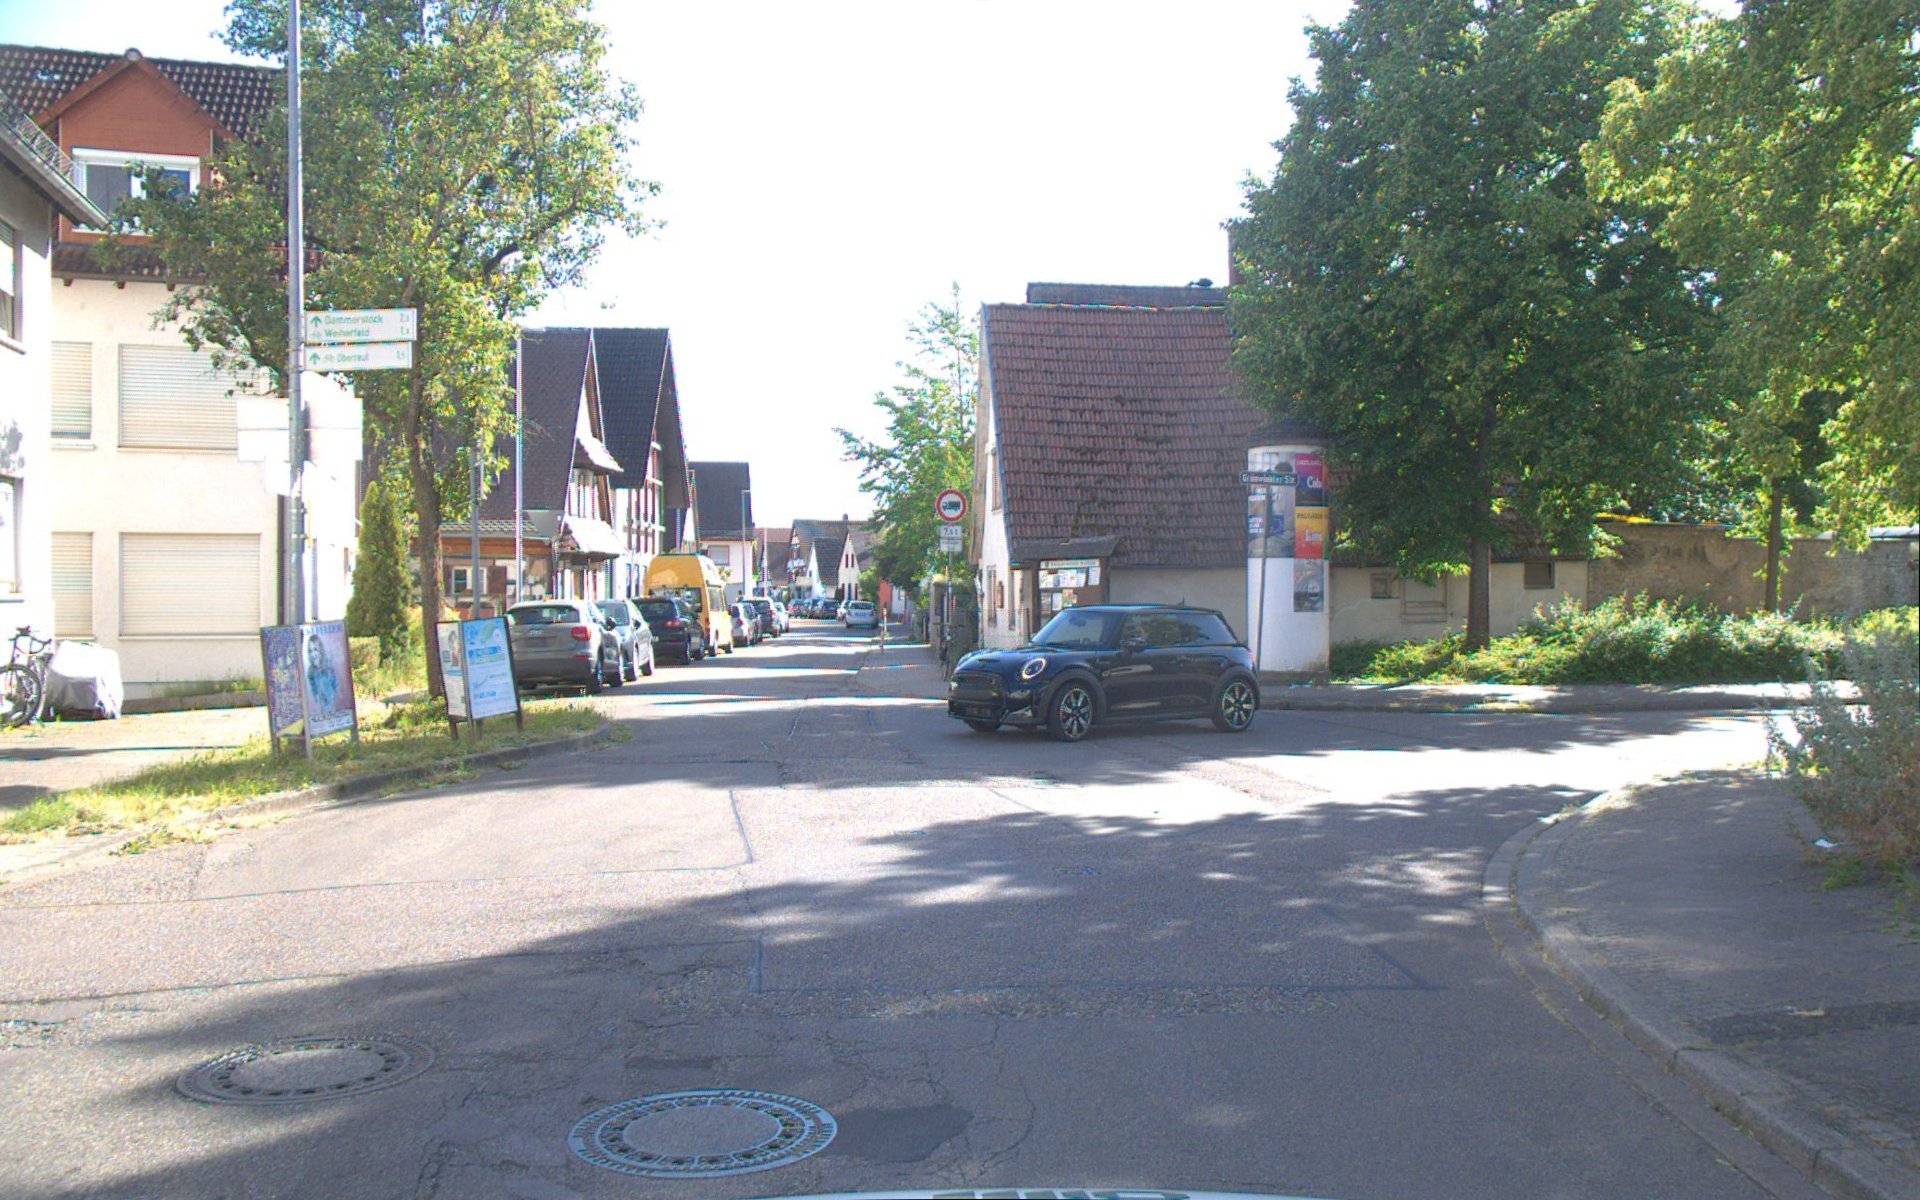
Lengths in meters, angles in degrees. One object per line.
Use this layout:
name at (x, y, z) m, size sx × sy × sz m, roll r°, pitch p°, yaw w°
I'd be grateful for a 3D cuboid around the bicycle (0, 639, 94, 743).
bicycle at (-10.270, 0.971, 18.200) m, size 0.567 × 1.071 × 2.033 m, roll -1°, pitch -1°, yaw -5°

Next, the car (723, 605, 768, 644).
car at (-7.790, 0.864, 60.320) m, size 1.557 × 1.359 × 3.609 m, roll 0°, pitch 0°, yaw -6°

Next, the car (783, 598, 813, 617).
car at (-14.299, 0.651, 145.857) m, size 1.942 × 1.610 × 3.975 m, roll 0°, pitch 0°, yaw -18°

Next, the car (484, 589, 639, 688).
car at (-6.594, 0.615, 27.770) m, size 1.830 × 1.532 × 4.104 m, roll 0°, pitch -1°, yaw -3°

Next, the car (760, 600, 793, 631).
car at (-8.962, 0.756, 80.850) m, size 1.557 × 1.468 × 3.609 m, roll 0°, pitch 0°, yaw -6°

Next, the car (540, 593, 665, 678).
car at (-6.869, 0.657, 32.150) m, size 1.771 × 1.532 × 4.104 m, roll 0°, pitch -1°, yaw -3°

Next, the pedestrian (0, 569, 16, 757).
pedestrian at (-9.042, 0.579, 15.155) m, size 0.474 × 1.723 × 0.555 m, roll 0°, pitch -2°, yaw -9°

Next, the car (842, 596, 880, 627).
car at (-5.625, 0.629, 93.745) m, size 1.935 × 1.744 × 3.989 m, roll 0°, pitch 0°, yaw -6°

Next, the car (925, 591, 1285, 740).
car at (1.688, 0.660, 18.615) m, size 3.955 × 1.503 × 1.645 m, roll 0°, pitch 0°, yaw -36°

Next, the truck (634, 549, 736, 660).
truck at (-7.673, 0.134, 46.611) m, size 2.223 × 2.919 × 5.778 m, roll 0°, pitch -1°, yaw -3°

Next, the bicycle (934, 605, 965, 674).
bicycle at (-0.185, 0.705, 30.291) m, size 0.424 × 1.197 × 1.830 m, roll -1°, pitch 0°, yaw 4°

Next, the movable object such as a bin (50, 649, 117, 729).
movable object such as a bin at (-10.920, 1.097, 20.631) m, size 0.616 × 0.962 × 0.658 m, roll 0°, pitch -1°, yaw -17°

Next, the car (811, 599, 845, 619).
car at (-10.866, 0.735, 136.109) m, size 1.942 × 1.610 × 3.975 m, roll 0°, pitch 0°, yaw -18°

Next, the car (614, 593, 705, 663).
car at (-7.412, 0.680, 41.062) m, size 1.771 × 1.650 × 3.878 m, roll 0°, pitch -1°, yaw -3°

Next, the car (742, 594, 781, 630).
car at (-8.248, 0.481, 68.955) m, size 1.557 × 1.468 × 3.609 m, roll 0°, pitch 0°, yaw -6°

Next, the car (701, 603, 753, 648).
car at (-7.804, 0.836, 55.669) m, size 1.614 × 1.458 × 3.609 m, roll 0°, pitch 0°, yaw -6°

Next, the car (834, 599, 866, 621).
car at (-8.276, 0.754, 123.810) m, size 1.938 × 1.610 × 3.984 m, roll 0°, pitch 0°, yaw -11°
